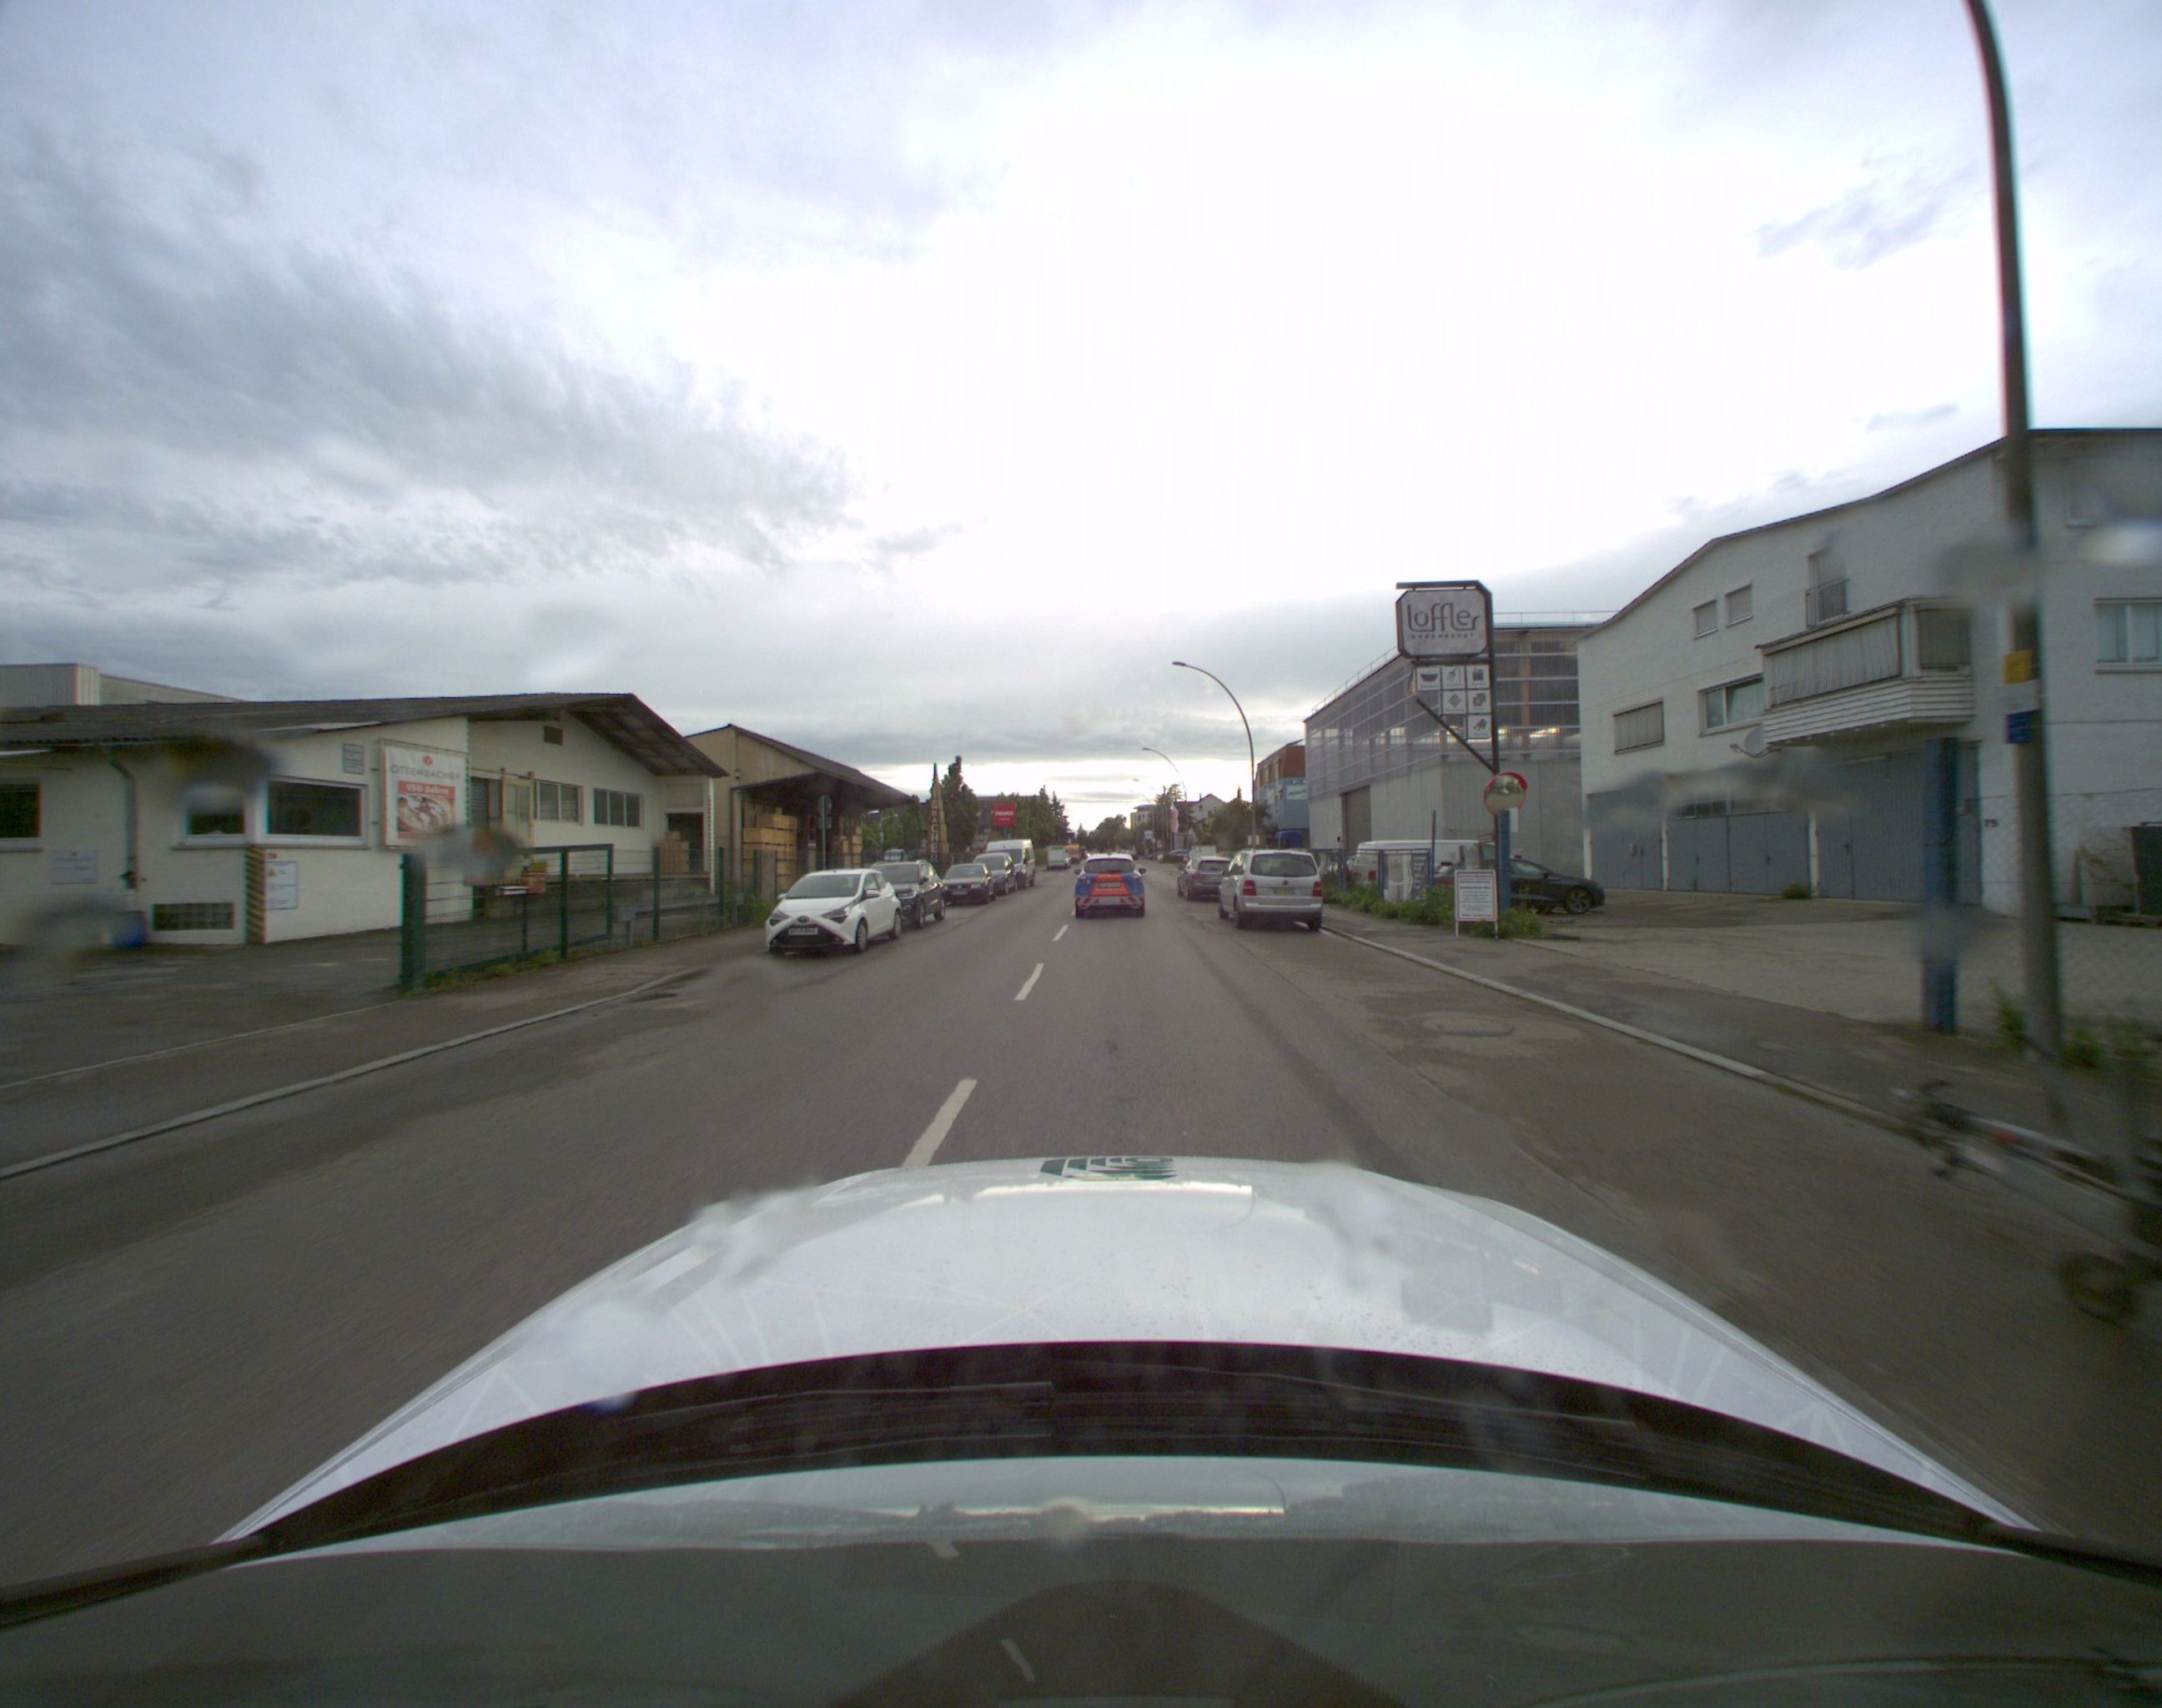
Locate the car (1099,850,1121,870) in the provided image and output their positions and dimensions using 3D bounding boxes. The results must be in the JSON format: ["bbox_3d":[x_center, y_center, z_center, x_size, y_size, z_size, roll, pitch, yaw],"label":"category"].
[{"bbox_3d":[2.300,0.497,65.560,1.644,1.521,3.999,0,0,0],"label":"car"}]

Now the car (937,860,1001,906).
[{"bbox_3d":[-3.976,0.989,29.538,1.656,1.448,4.317,-2,0,0],"label":"car"}]

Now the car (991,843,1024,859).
[{"bbox_3d":[-9.943,-0.395,110.420,4.290,2.014,2.064,0,-1,2],"label":"car"}]

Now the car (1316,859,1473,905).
[{"bbox_3d":[9.902,0.858,25.956,4.305,1.379,1.850,0,0,1],"label":"car"}]

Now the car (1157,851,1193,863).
[{"bbox_3d":[11.623,0.396,100.760,4.323,1.475,1.903,0,0,1],"label":"car"}]

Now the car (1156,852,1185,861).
[{"bbox_3d":[12.474,0.399,113.913,3.970,1.266,1.953,0,0,3],"label":"car"}]

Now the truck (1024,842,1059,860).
[{"bbox_3d":[-6.945,-0.506,143.804,5.888,3.073,2.451,0,-1,2],"label":"truck"}]

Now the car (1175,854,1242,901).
[{"bbox_3d":[4.297,0.765,27.986,1.732,1.466,4.547,0,0,2],"label":"car"}]

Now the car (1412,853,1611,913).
[{"bbox_3d":[10.925,0.709,20.907,4.088,1.457,2.001,0,0,2],"label":"car"}]

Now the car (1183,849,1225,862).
[{"bbox_3d":[13.553,0.195,90.212,4.400,1.393,1.880,0,0,0],"label":"car"}]

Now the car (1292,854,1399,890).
[{"bbox_3d":[11.849,0.800,36.666,4.227,1.536,1.812,1,0,1],"label":"car"}]

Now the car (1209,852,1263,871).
[{"bbox_3d":[12.214,0.553,64.307,3.974,1.430,1.631,-1,0,0],"label":"car"}]

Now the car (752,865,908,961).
[{"bbox_3d":[-4.573,1.007,15.395,1.610,1.509,3.662,-2,0,2],"label":"car"}]

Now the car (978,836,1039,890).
[{"bbox_3d":[-3.600,0.437,41.774,2.150,2.427,6.462,-4,0,2],"label":"car"}]

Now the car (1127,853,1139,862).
[{"bbox_3d":[8.332,0.578,131.065,1.584,1.341,4.092,-1,0,0],"label":"car"}]

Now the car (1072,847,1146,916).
[{"bbox_3d":[0.692,0.662,21.056,1.725,1.631,3.495,-1,0,1],"label":"car"}]

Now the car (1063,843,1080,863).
[{"bbox_3d":[-1.236,-0.096,109.193,2.117,2.537,6.023,-2,0,1],"label":"car"}]

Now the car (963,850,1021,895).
[{"bbox_3d":[-3.847,0.779,35.982,1.762,1.768,4.449,-4,-1,2],"label":"car"}]

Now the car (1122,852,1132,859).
[{"bbox_3d":[9.120,0.351,162.835,1.706,1.438,4.525,0,0,0],"label":"car"}]

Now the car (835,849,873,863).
[{"bbox_3d":[-26.390,0.223,94.613,3.981,1.606,1.768,0,-1,-6],"label":"car"}]

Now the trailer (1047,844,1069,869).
[{"bbox_3d":[-2.233,0.219,79.152,1.806,2.314,4.731,-3,0,1],"label":"trailer"}]

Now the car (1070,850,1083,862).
[{"bbox_3d":[-0.761,0.318,141.147,1.986,1.947,5.366,-1,0,1],"label":"car"}]

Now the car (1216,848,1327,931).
[{"bbox_3d":[4.095,0.705,18.129,1.731,1.621,4.377,0,0,4],"label":"car"}]

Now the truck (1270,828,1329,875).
[{"bbox_3d":[18.212,-0.217,68.060,4.132,3.673,2.719,2,-1,-1],"label":"truck"}]

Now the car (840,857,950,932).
[{"bbox_3d":[-4.434,0.918,20.018,1.655,1.584,3.917,-3,0,1],"label":"car"}]

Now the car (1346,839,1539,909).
[{"bbox_3d":[10.273,0.549,23.432,4.714,1.886,2.001,0,-1,1],"label":"car"}]

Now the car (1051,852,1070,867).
[{"bbox_3d":[-2.087,0.536,84.016,1.766,1.498,4.138,-1,1,1],"label":"car"}]

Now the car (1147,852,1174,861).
[{"bbox_3d":[12.212,0.398,125.604,3.974,1.266,1.951,0,0,0],"label":"car"}]
